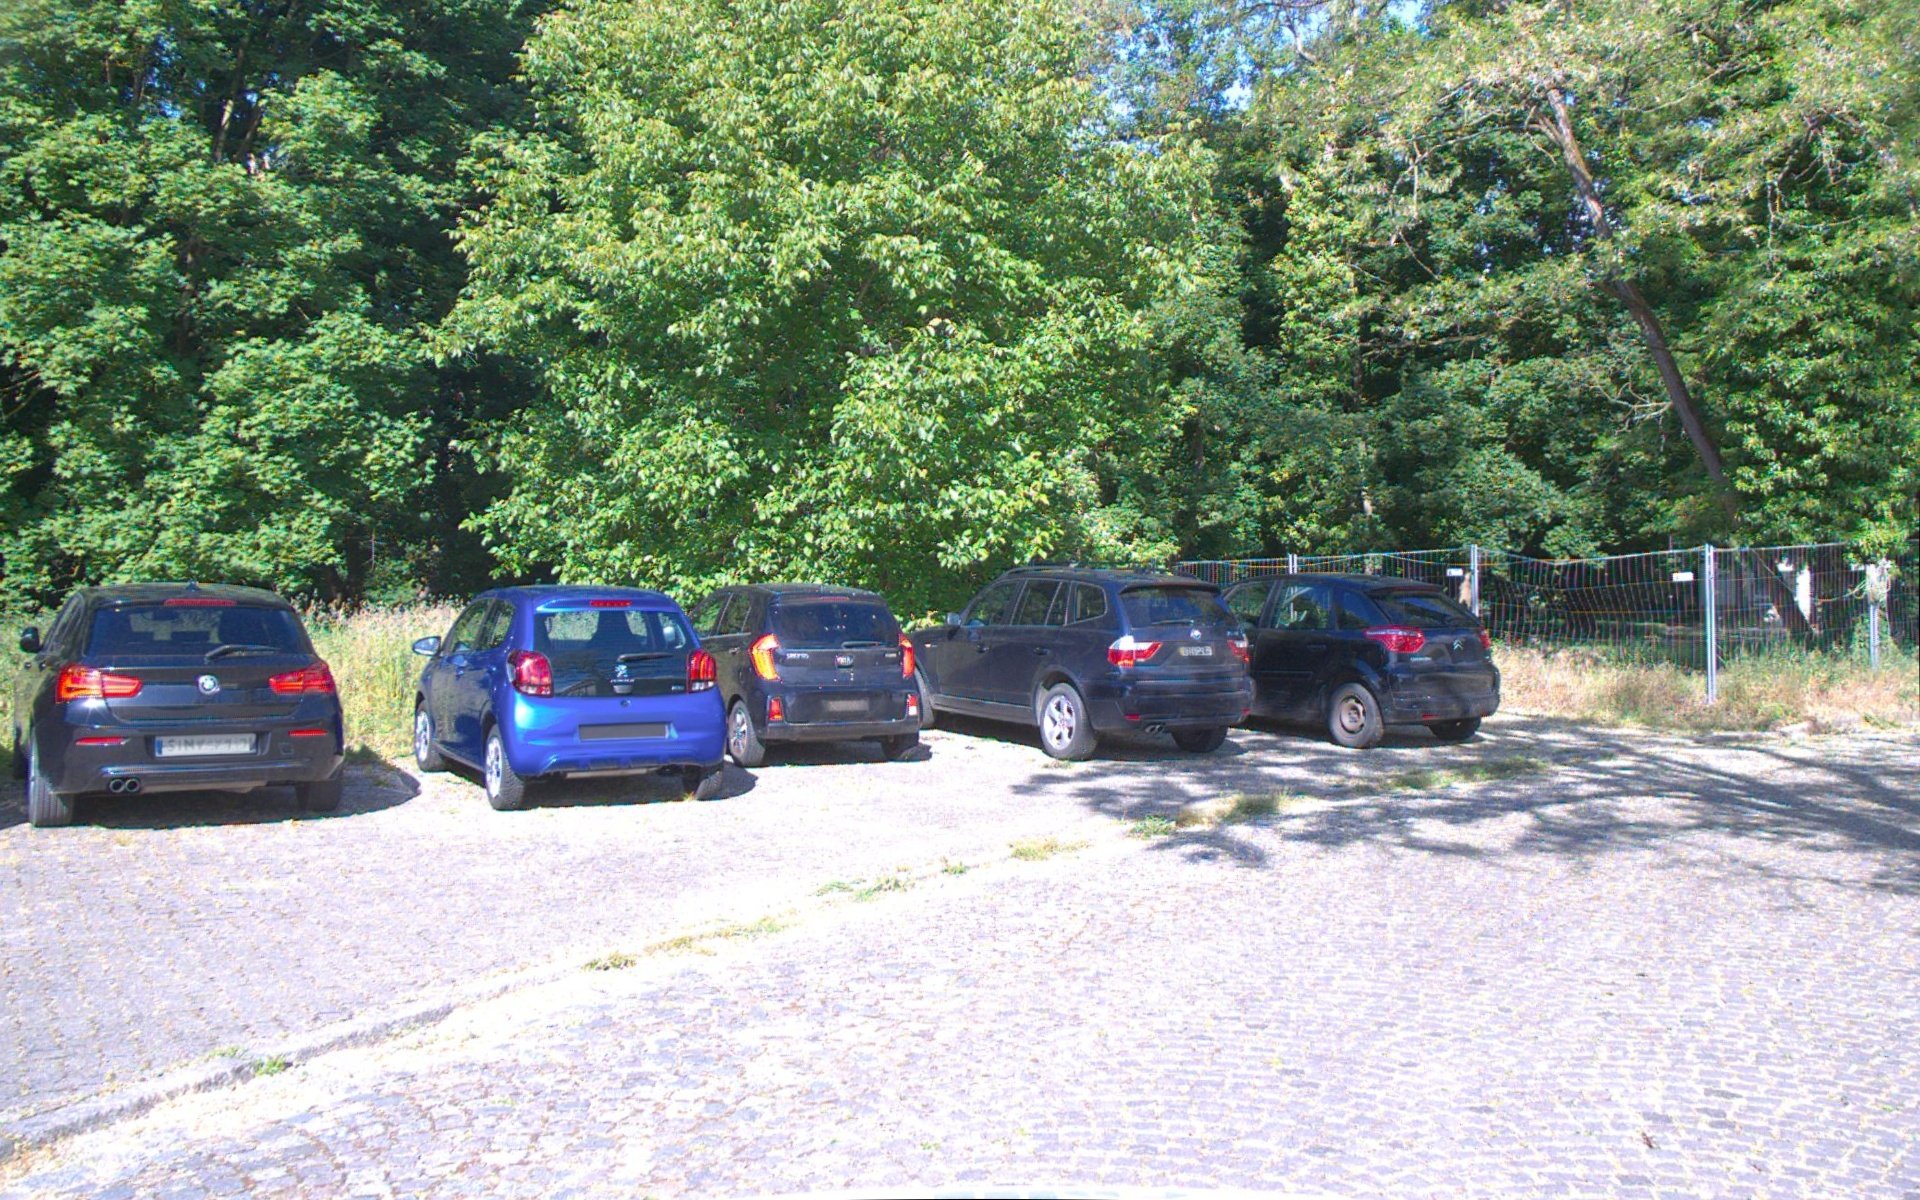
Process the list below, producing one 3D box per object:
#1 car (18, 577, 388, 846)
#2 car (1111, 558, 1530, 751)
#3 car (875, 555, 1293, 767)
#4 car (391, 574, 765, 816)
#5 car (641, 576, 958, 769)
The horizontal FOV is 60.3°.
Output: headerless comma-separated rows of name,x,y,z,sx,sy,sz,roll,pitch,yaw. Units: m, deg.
car,-5.209,0.588,11.114,1.870,1.436,3.750,0,1,-31
car,3.676,0.449,17.573,1.809,1.616,4.221,-1,4,-35
car,1.036,0.462,15.996,1.857,1.659,4.226,0,2,-33
car,-3.033,0.582,12.549,1.761,1.484,3.752,0,1,-30
car,-1.578,0.549,15.015,1.717,1.476,3.695,1,1,-25
